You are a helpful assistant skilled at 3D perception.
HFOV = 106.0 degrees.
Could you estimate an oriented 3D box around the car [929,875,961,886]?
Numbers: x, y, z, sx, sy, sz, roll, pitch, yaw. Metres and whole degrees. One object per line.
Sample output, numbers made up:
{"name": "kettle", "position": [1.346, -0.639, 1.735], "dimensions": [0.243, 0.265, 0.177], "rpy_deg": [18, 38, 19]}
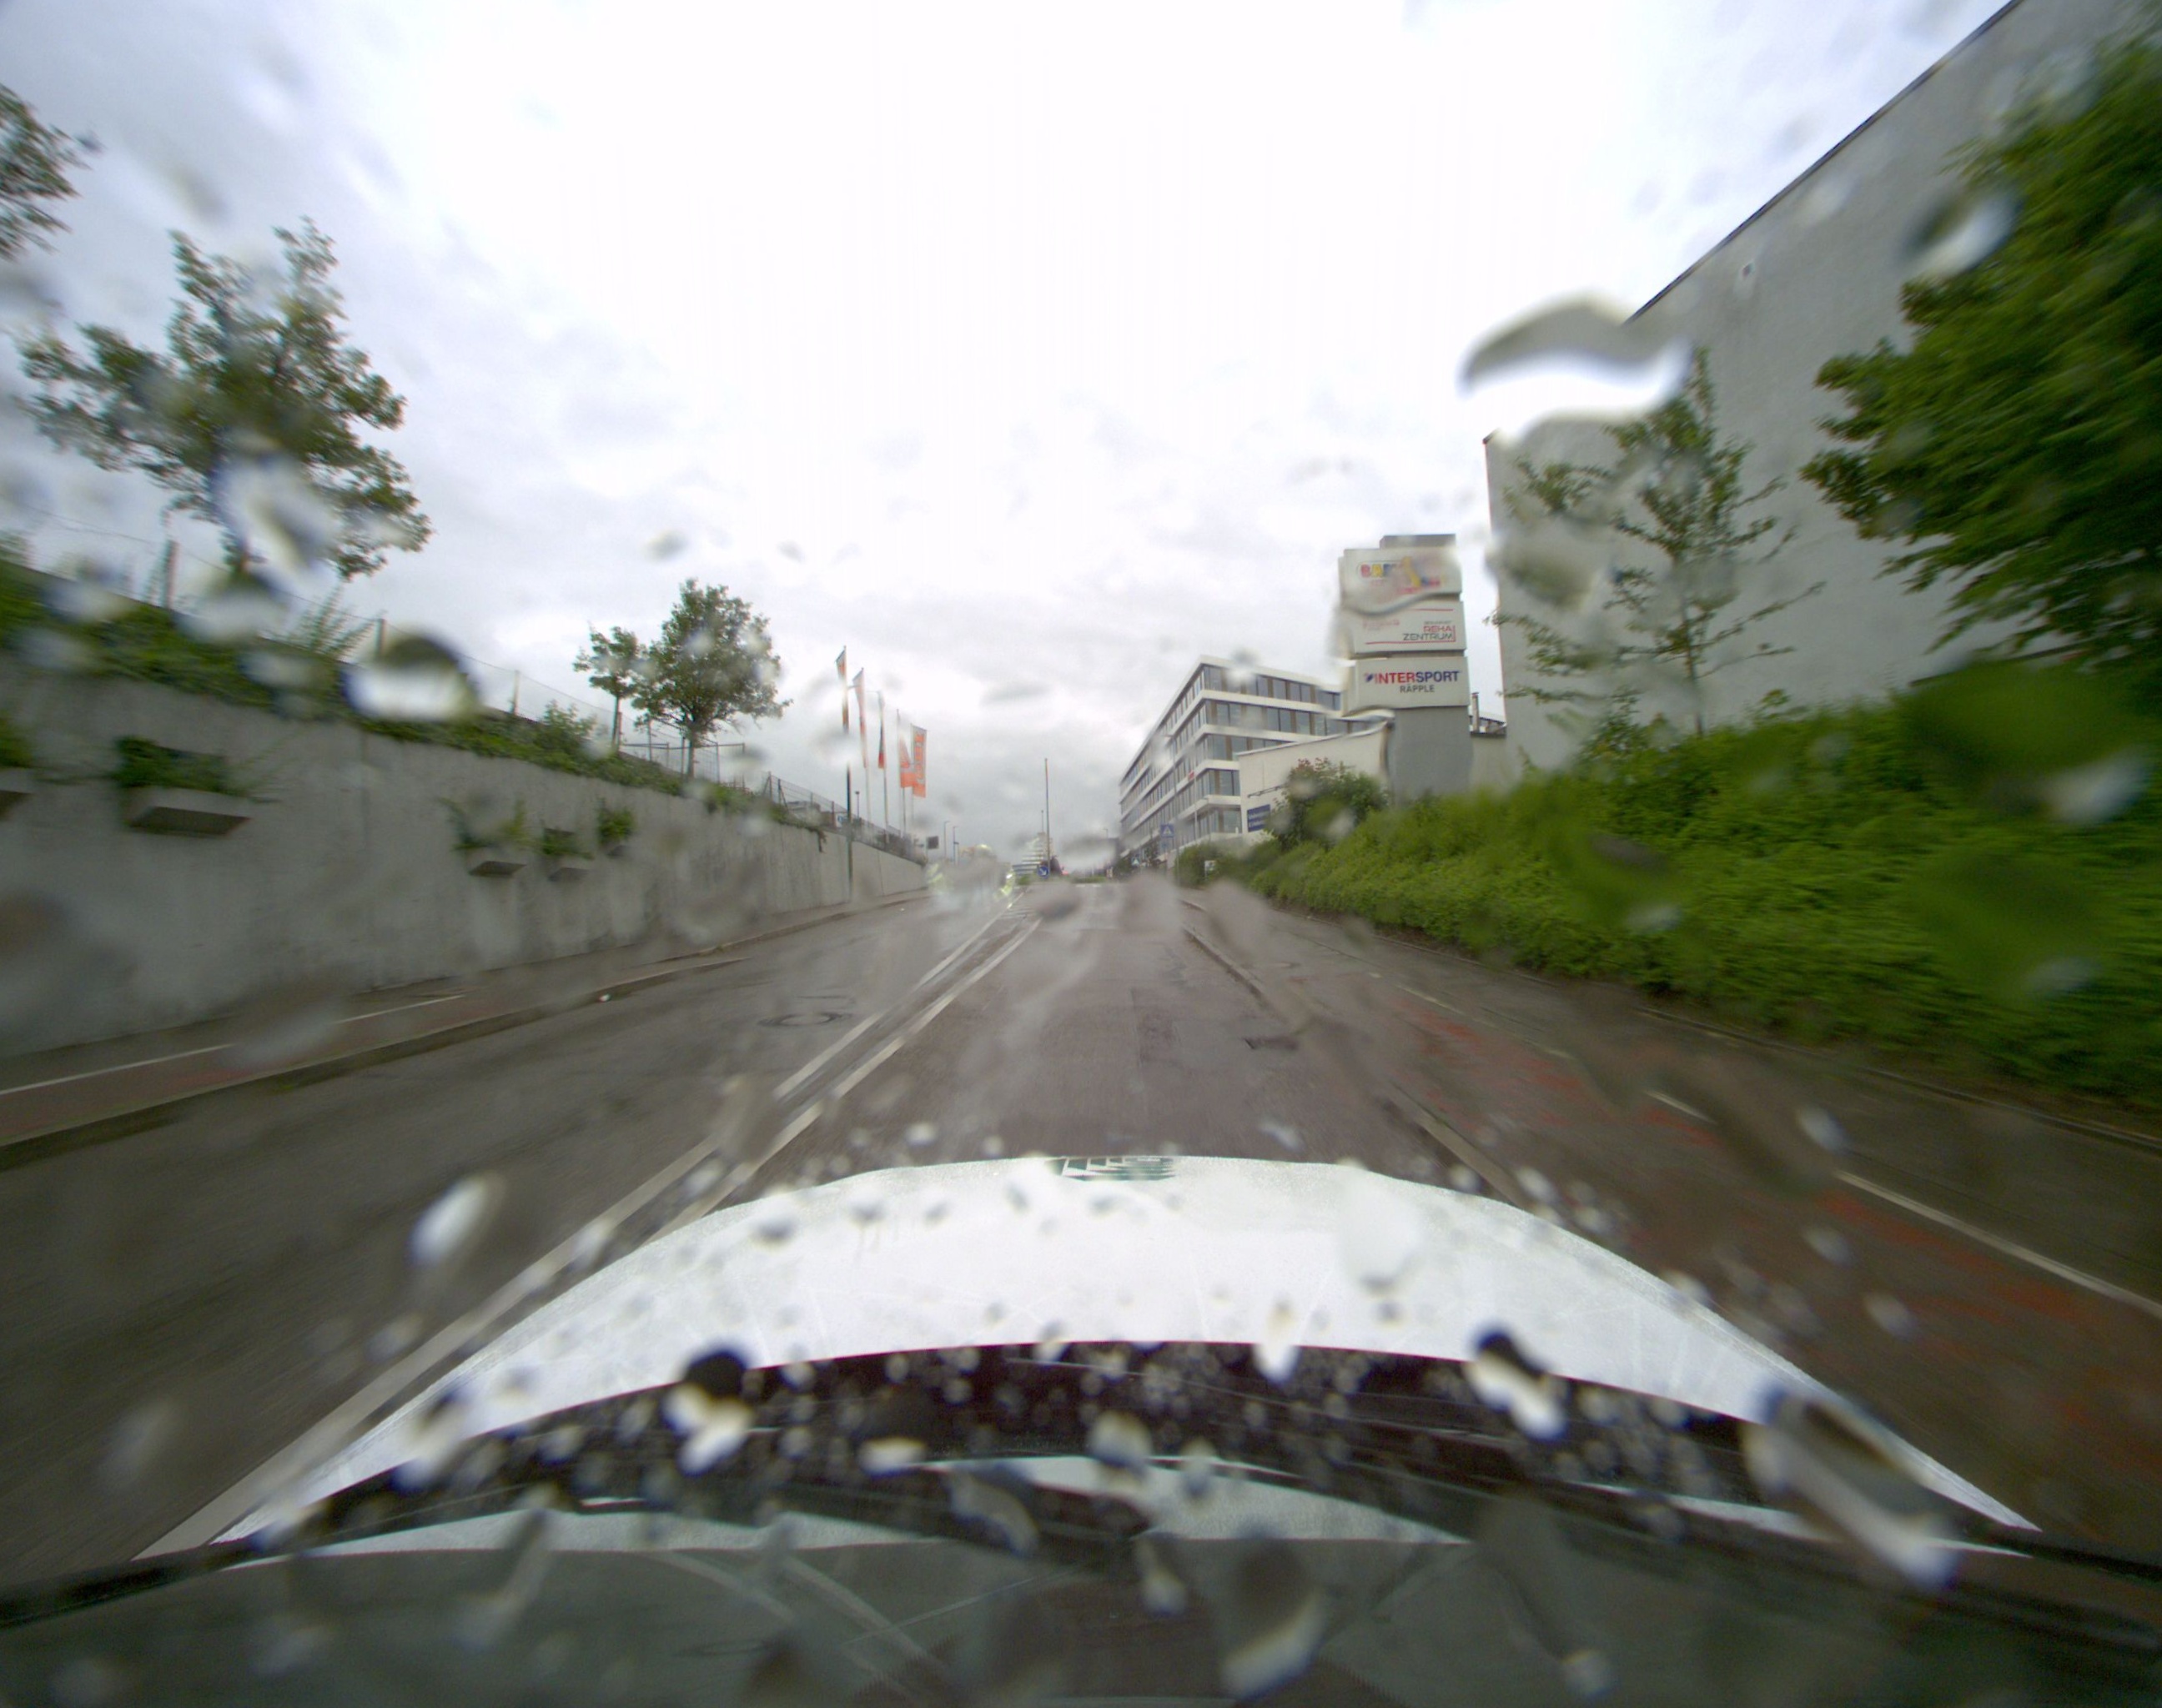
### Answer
{"name": "car", "position": [-18.711, 3.704, 112.150], "dimensions": [4.045, 1.420, 1.752], "rpy_deg": [1, -5, -29]}

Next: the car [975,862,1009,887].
{"name": "car", "position": [-5.624, 1.232, 51.141], "dimensions": [2.000, 1.426, 4.768], "rpy_deg": [-1, 0, -7]}
